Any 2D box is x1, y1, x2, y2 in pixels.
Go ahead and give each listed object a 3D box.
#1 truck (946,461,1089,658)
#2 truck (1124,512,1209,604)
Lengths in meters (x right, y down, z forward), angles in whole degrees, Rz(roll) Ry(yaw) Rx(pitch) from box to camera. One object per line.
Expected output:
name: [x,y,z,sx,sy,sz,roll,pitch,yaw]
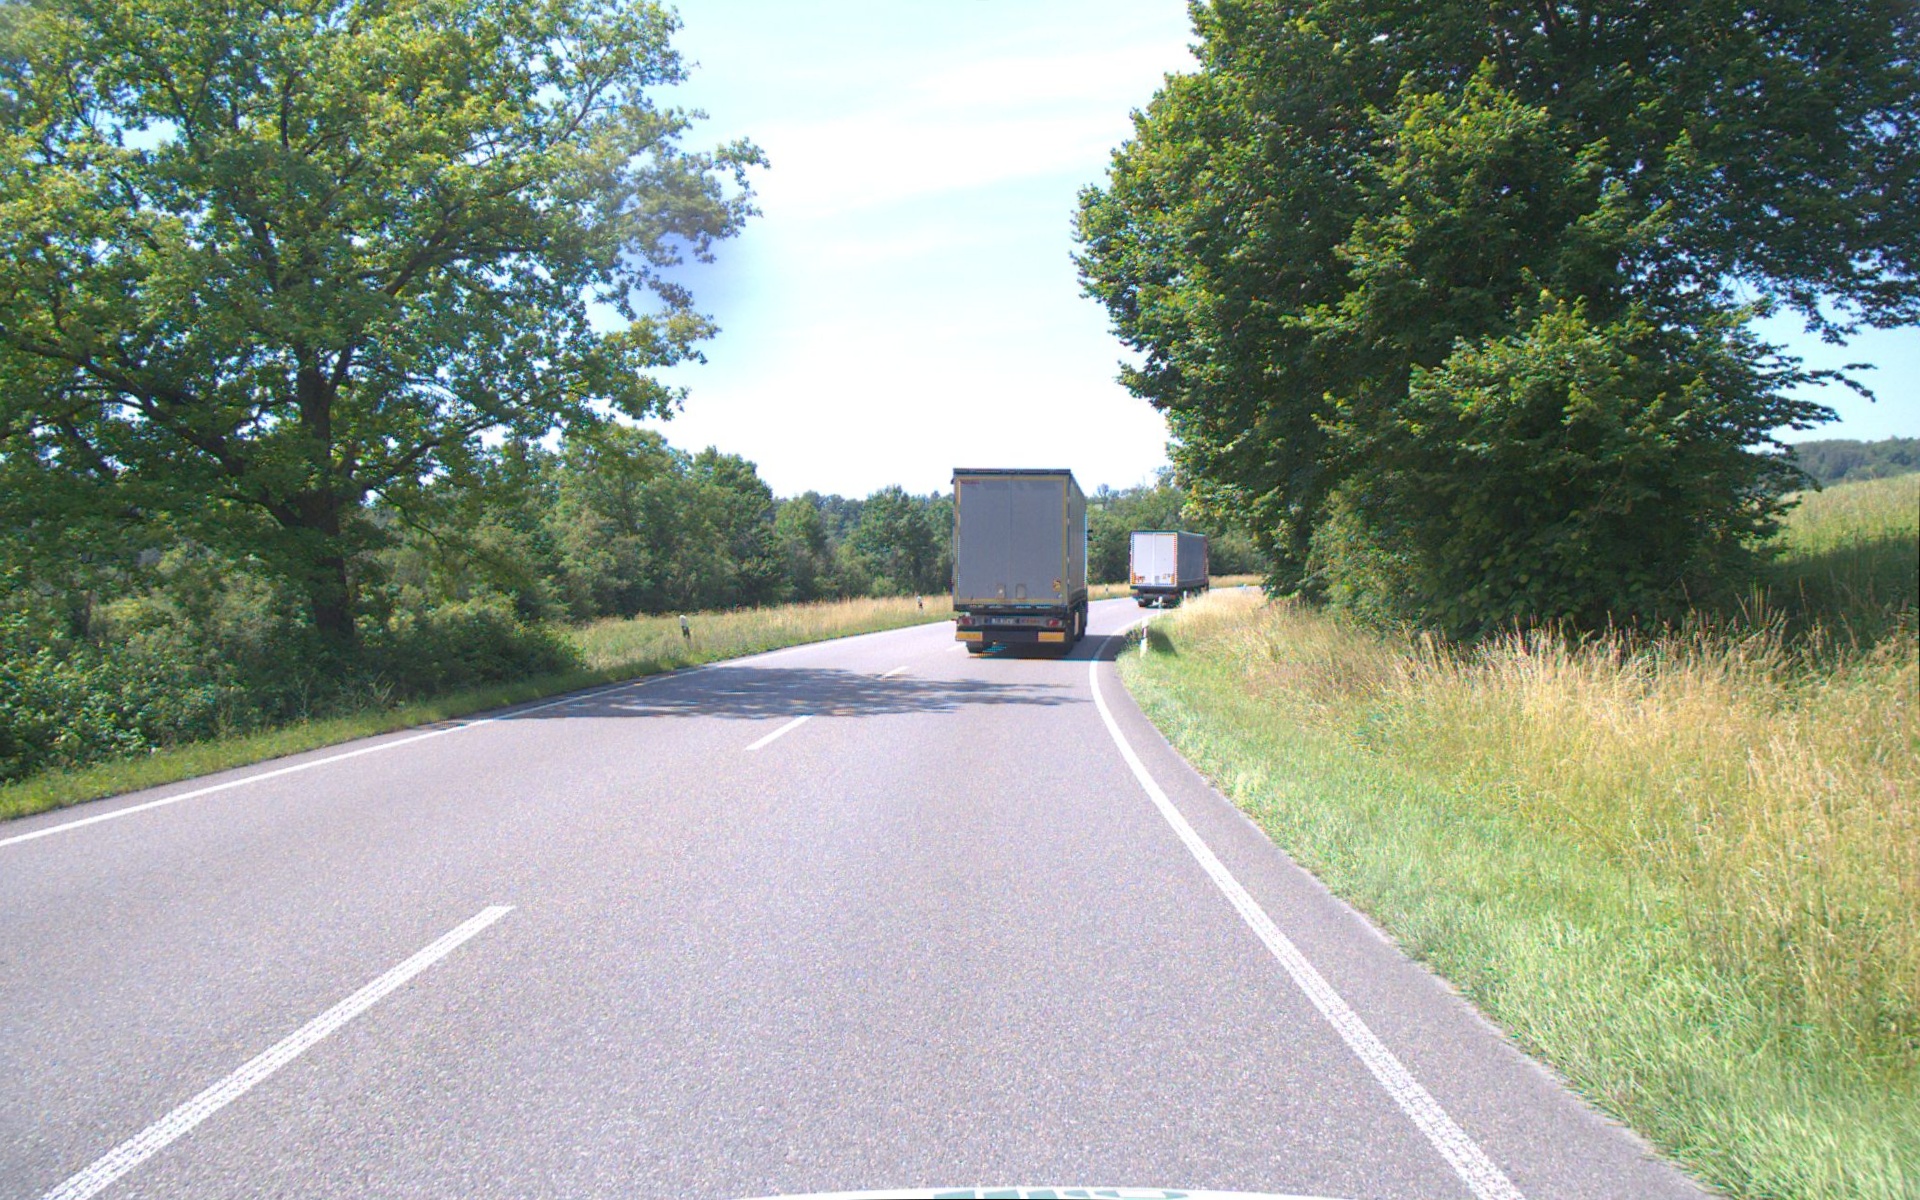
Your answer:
truck: [1.806,-0.947,42.578,2.742,4.139,15.336,1,1,5]
truck: [12.008,-2.274,94.521,3.038,4.788,16.603,0,1,13]
